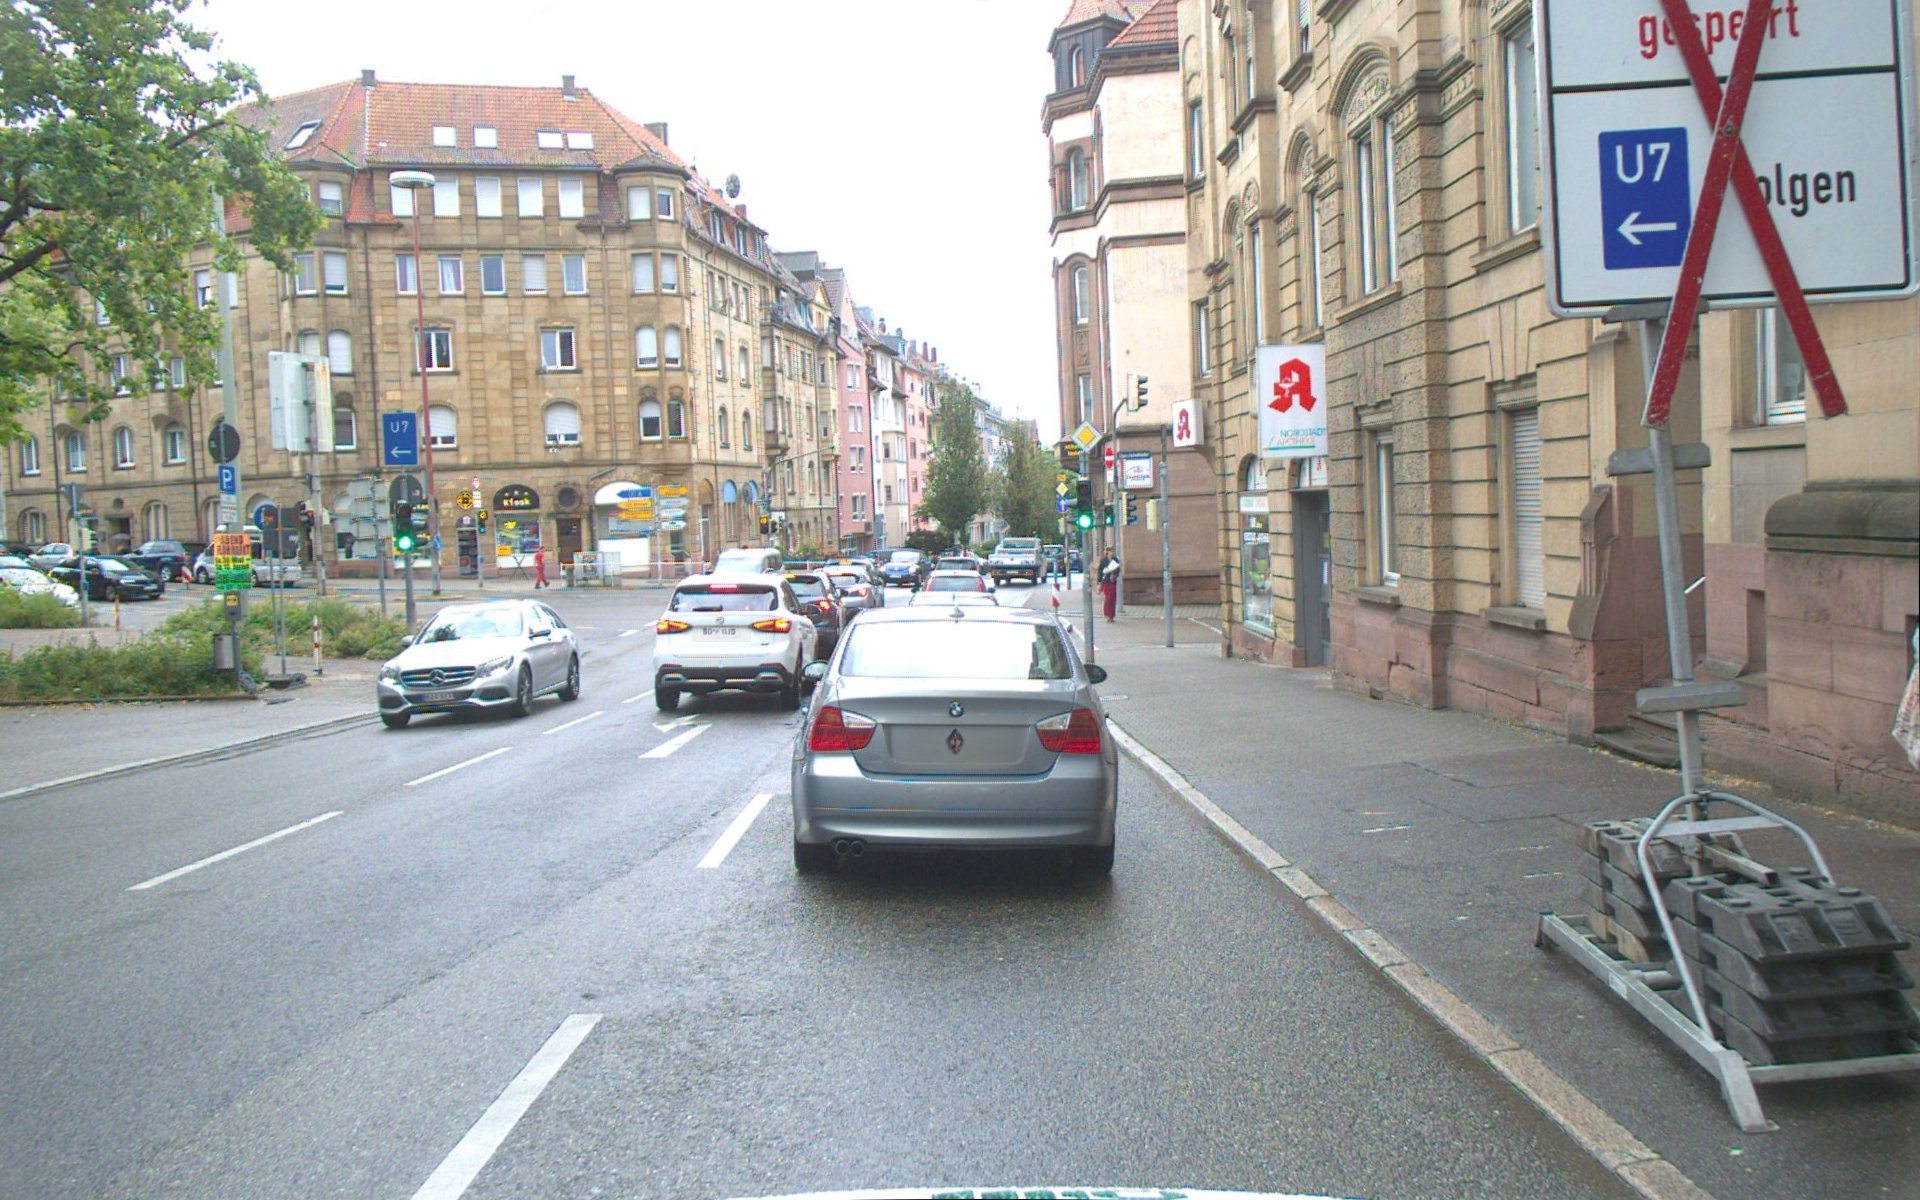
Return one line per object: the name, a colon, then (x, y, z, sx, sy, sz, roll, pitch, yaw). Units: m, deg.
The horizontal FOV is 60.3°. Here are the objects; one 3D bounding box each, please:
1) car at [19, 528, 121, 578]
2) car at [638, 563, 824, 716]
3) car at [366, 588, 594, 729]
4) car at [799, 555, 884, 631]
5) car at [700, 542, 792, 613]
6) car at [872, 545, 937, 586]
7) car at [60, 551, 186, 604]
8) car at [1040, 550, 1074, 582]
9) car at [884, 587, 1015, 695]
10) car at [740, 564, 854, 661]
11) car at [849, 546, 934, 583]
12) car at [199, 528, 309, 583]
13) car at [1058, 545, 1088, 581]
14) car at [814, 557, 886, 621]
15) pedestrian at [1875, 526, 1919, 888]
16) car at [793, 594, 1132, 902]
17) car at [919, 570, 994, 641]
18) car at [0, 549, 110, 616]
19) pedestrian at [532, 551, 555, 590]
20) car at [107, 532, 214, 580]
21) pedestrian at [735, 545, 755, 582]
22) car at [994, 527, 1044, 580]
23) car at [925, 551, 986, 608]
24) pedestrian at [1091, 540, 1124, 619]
car: (-39.562, -2.101, 73.526, 4.197, 2.138, 1.997, 2, 3, 28)
car: (-2.837, 0.413, 21.336, 1.830, 1.653, 4.000, -2, 2, -1)
car: (-6.249, 0.682, 22.080, 1.703, 1.553, 4.471, -4, 1, -1)
car: (-2.819, -0.192, 40.081, 1.723, 1.737, 4.001, 0, 1, 1)
car: (-6.190, -0.667, 48.331, 1.724, 1.959, 4.326, -1, 1, 5)
car: (-2.267, -1.416, 68.749, 1.805, 1.568, 4.003, 1, 0, 11)
car: (-29.257, -0.827, 57.824, 4.157, 1.756, 1.996, 1, 2, 31)
car: (5.215, -1.806, 89.494, 1.689, 1.579, 4.001, 1, 0, 2)
car: (-0.105, 0.528, 23.885, 1.723, 1.407, 4.001, 0, 1, 1)
car: (-3.084, 0.199, 31.983, 1.723, 1.737, 4.001, 0, 1, 1)
car: (-4.134, -2.148, 100.935, 5.071, 2.049, 2.698, 1, 0, -1)
car: (-29.021, -1.867, 68.007, 4.197, 2.138, 1.997, 2, 3, 28)
car: (6.998, -2.248, 101.882, 1.689, 2.049, 4.002, 1, 0, 5)
car: (-3.098, -0.324, 47.368, 1.723, 1.737, 4.001, 0, 1, 1)
pedestrian: (4.342, 0.436, 6.826, 0.618, 1.534, 0.693, -5, 0, -1)
car: (0.041, 0.692, 9.587, 1.590, 1.407, 3.616, 0, 1, 1)
car: (-0.040, 0.084, 36.850, 1.562, 1.490, 4.001, 0, 1, 1)
car: (-29.221, -0.542, 52.844, 3.914, 2.049, 1.874, -1, 0, 31)
pedestrian: (-17.164, -1.227, 68.190, 0.526, 1.605, 0.719, -1, 0, 26)
car: (-33.584, -1.871, 69.478, 4.197, 1.870, 1.997, 2, 3, 28)
pedestrian: (-9.432, -1.590, 72.538, 0.716, 1.605, 0.529, -1, 1, 8)
car: (2.478, -1.953, 70.348, 1.953, 2.143, 4.000, 0, 0, 0)
car: (-0.102, -0.612, 48.986, 1.723, 1.594, 4.001, 0, 1, 1)
pedestrian: (3.719, -0.521, 41.834, 0.727, 1.943, 0.659, -1, 1, -1)
